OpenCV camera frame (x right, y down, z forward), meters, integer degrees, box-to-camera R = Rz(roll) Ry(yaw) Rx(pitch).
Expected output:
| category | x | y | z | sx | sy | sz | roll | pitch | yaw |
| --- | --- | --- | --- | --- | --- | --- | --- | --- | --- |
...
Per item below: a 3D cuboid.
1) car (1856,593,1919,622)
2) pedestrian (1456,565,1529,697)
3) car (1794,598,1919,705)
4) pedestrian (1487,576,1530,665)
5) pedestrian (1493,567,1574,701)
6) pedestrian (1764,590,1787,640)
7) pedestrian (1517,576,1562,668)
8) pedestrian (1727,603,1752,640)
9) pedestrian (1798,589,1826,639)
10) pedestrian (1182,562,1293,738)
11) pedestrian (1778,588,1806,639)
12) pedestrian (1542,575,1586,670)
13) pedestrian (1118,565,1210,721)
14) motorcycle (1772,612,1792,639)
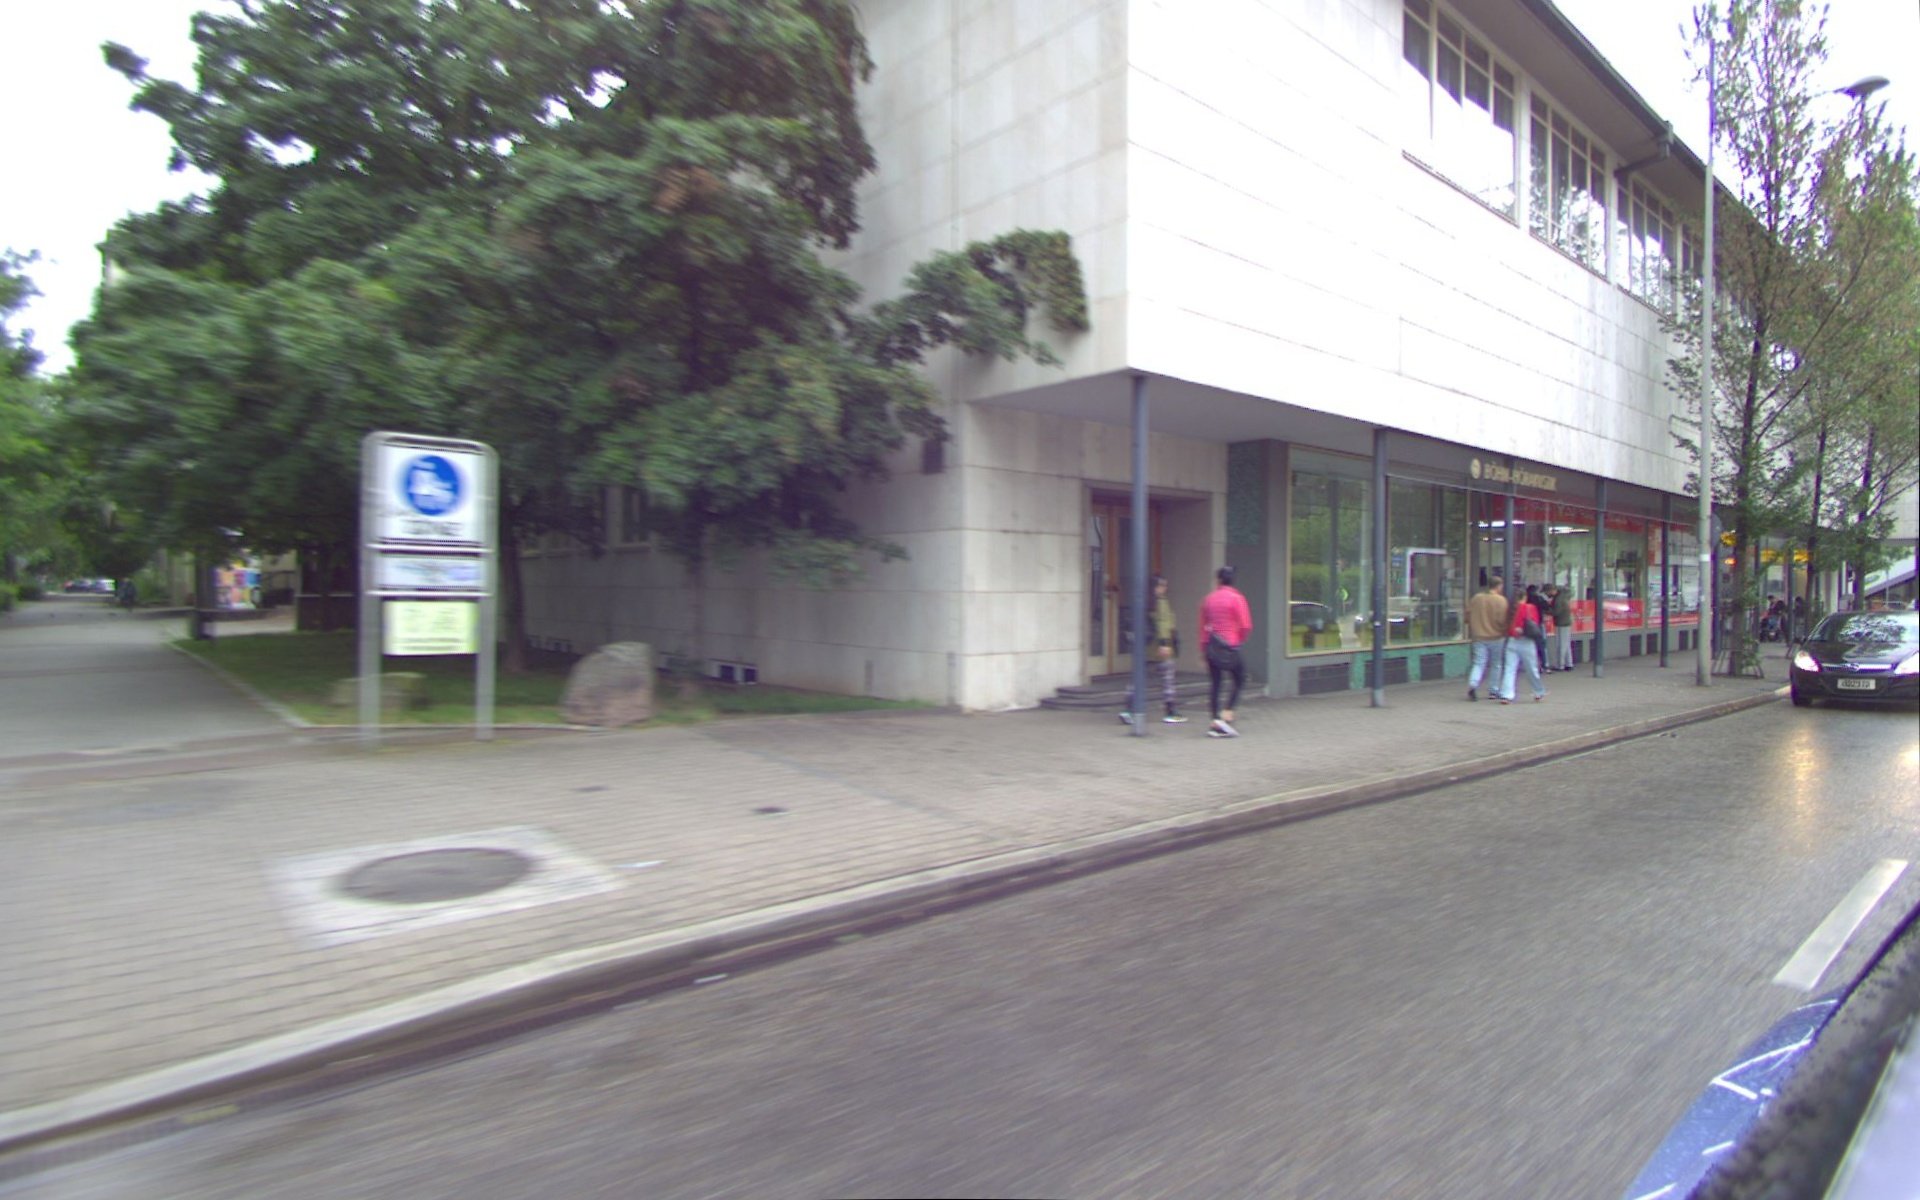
| category | x | y | z | sx | sy | sz | roll | pitch | yaw |
| --- | --- | --- | --- | --- | --- | --- | --- | --- | --- |
| car | 51.004 | 0.374 | 54.309 | 1.959 | 1.495 | 4.006 | -1 | 0 | -9 |
| pedestrian | 7.610 | 0.421 | 14.464 | 0.596 | 1.824 | 0.699 | 0 | 2 | -40 |
| car | 14.403 | 0.740 | 15.609 | 3.675 | 1.475 | 1.712 | 1 | 0 | -39 |
| pedestrian | 10.937 | 0.391 | 20.199 | 0.524 | 1.740 | 0.539 | 1 | 0 | -30 |
| pedestrian | 7.957 | 0.446 | 14.040 | 0.906 | 1.789 | 0.655 | 0 | 2 | -41 |
| pedestrian | 25.869 | 0.470 | 32.111 | 0.500 | 1.586 | 0.430 | 1 | 1 | -36 |
| pedestrian | 11.197 | 0.411 | 19.552 | 0.524 | 1.740 | 0.538 | 1 | 0 | -32 |
| pedestrian | 24.811 | 0.675 | 32.228 | 0.424 | 1.150 | 0.507 | 1 | 1 | 15 |
| pedestrian | 27.184 | 0.434 | 32.287 | 0.500 | 1.586 | 0.430 | 1 | 1 | 1 |
| pedestrian | 2.736 | 0.460 | 9.990 | 0.756 | 1.640 | 0.718 | 0 | 2 | -40 |
| pedestrian | 26.598 | 0.426 | 32.344 | 0.501 | 1.586 | 0.430 | 1 | 1 | 6 |
| pedestrian | 11.946 | 0.425 | 20.028 | 0.524 | 1.843 | 0.538 | 1 | 0 | -32 |
| pedestrian | 2.198 | 0.436 | 10.926 | 0.596 | 1.609 | 0.727 | 0 | 2 | -40 |
| motorcycle | 26.306 | 0.812 | 32.384 | 0.904 | 0.814 | 0.325 | 1 | 1 | -41 |
